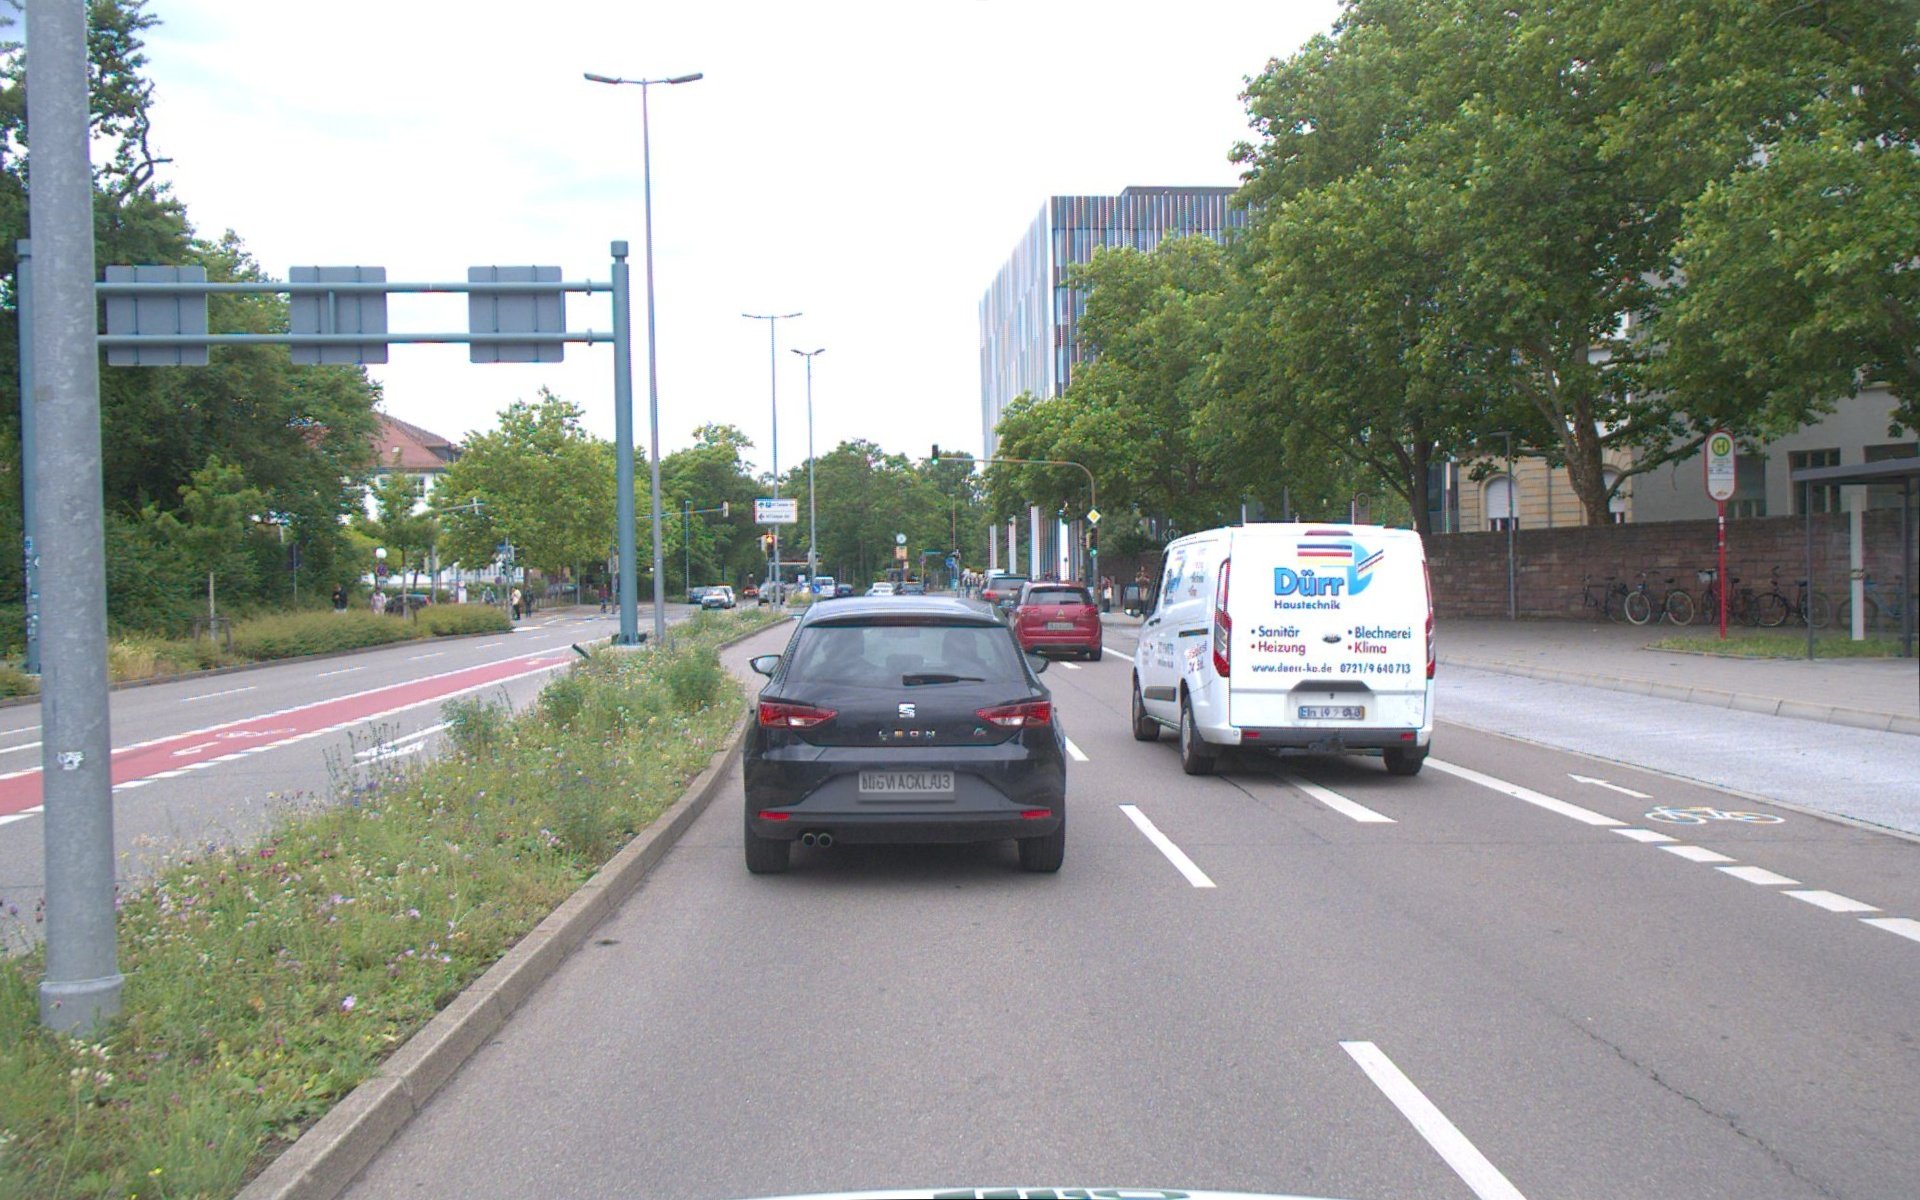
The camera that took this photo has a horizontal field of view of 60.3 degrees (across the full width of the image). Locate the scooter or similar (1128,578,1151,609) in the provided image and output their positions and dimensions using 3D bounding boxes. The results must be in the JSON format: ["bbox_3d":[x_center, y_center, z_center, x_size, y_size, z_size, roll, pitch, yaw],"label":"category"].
[{"bbox_3d":[7.593,-0.285,69.939,0.423,1.199,1.704,-3,1,22],"label":"scooter or similar"}]

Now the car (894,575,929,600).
[{"bbox_3d":[-2.949,-0.779,100.089,1.862,1.377,3.878,-3,1,-5],"label":"car"}]

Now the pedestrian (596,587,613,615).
[{"bbox_3d":[-21.212,0.063,98.663,0.858,1.613,0.542,-3,1,-9],"label":"pedestrian"}]

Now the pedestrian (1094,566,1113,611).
[{"bbox_3d":[5.698,-0.449,65.670,0.453,1.769,0.548,-4,1,-41],"label":"pedestrian"}]

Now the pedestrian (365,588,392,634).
[{"bbox_3d":[-21.894,0.401,62.268,0.686,1.664,0.671,-3,1,-3],"label":"pedestrian"}]

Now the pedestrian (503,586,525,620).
[{"bbox_3d":[-23.771,0.153,88.137,0.835,1.770,0.818,0,-4,-41],"label":"pedestrian"}]

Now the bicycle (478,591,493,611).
[{"bbox_3d":[-25.687,0.072,89.482,0.656,1.081,1.609,0,0,-21],"label":"bicycle"}]

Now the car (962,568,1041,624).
[{"bbox_3d":[1.335,-0.157,54.924,1.879,1.693,4.106,-3,1,-9],"label":"car"}]

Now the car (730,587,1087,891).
[{"bbox_3d":[-0.247,0.656,9.838,1.717,1.457,3.769,0,0,0],"label":"car"}]

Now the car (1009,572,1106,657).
[{"bbox_3d":[1.997,0.260,34.562,1.908,1.652,3.751,0,1,2],"label":"car"}]

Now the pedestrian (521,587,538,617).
[{"bbox_3d":[-23.558,0.121,90.473,0.778,1.585,0.694,-1,-3,-22],"label":"pedestrian"}]

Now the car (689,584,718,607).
[{"bbox_3d":[-21.524,-0.405,138.886,1.868,1.746,3.999,-3,1,-2],"label":"car"}]

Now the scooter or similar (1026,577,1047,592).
[{"bbox_3d":[6.112,-1.252,131.851,1.656,1.126,0.493,-4,1,-34],"label":"scooter or similar"}]

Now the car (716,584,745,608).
[{"bbox_3d":[-15.382,-0.308,111.000,1.672,1.456,4.223,-3,1,-5],"label":"car"}]

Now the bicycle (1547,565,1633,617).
[{"bbox_3d":[14.456,-0.201,37.997,0.711,1.119,1.773,-3,1,-31],"label":"bicycle"}]

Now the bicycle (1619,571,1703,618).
[{"bbox_3d":[15.237,-0.119,35.995,0.644,0.967,1.760,-3,1,-19],"label":"bicycle"}]

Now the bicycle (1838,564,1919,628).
[{"bbox_3d":[17.018,-0.079,30.305,0.588,1.123,1.644,-3,1,-22],"label":"bicycle"}]

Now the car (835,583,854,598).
[{"bbox_3d":[-9.839,-0.809,140.269,1.476,1.214,3.160,-3,1,-5],"label":"car"}]

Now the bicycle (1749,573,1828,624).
[{"bbox_3d":[16.391,-0.035,32.770,0.409,0.958,1.517,-3,1,-19],"label":"bicycle"}]

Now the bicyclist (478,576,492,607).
[{"bbox_3d":[-25.687,-0.467,89.502,0.656,1.664,0.955,0,0,-21],"label":"bicyclist"}]

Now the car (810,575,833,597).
[{"bbox_3d":[-10.521,-1.068,125.604,1.663,1.530,4.005,-3,1,-5],"label":"car"}]

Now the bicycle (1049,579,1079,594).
[{"bbox_3d":[6.912,-0.879,109.758,1.861,0.914,0.692,-3,1,-23],"label":"bicycle"}]

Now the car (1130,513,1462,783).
[{"bbox_3d":[2.736,0.327,14.540,1.926,2.006,4.343,0,1,-2],"label":"car"}]

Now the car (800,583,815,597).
[{"bbox_3d":[-14.201,-0.907,153.618,1.331,1.214,2.874,-3,1,-5],"label":"car"}]

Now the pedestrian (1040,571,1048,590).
[{"bbox_3d":[6.228,-1.459,122.311,0.462,1.385,0.446,-3,1,8],"label":"pedestrian"}]

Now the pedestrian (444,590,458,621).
[{"bbox_3d":[-26.961,0.276,87.617,0.563,1.553,0.842,-2,-4,-26],"label":"pedestrian"}]

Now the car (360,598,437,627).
[{"bbox_3d":[-29.723,0.651,87.577,3.587,1.244,1.562,-1,8,-9],"label":"car"}]

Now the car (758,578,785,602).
[{"bbox_3d":[-12.910,-0.642,113.340,1.731,1.485,4.784,-3,0,-7],"label":"car"}]

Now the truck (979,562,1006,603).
[{"bbox_3d":[1.887,-1.025,96.124,1.291,2.282,3.400,-3,1,-2],"label":"truck"}]

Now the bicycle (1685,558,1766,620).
[{"bbox_3d":[15.852,-0.226,34.286,0.491,1.242,1.618,-3,1,-19],"label":"bicycle"}]

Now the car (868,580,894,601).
[{"bbox_3d":[-5.465,-0.669,113.812,1.584,1.377,3.996,-3,1,-5],"label":"car"}]

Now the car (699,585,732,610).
[{"bbox_3d":[-15.425,-0.189,104.385,1.575,1.405,3.807,-3,1,-2],"label":"car"}]

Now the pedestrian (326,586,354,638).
[{"bbox_3d":[-21.281,0.409,56.788,0.608,1.759,0.818,-3,1,-2],"label":"pedestrian"}]
